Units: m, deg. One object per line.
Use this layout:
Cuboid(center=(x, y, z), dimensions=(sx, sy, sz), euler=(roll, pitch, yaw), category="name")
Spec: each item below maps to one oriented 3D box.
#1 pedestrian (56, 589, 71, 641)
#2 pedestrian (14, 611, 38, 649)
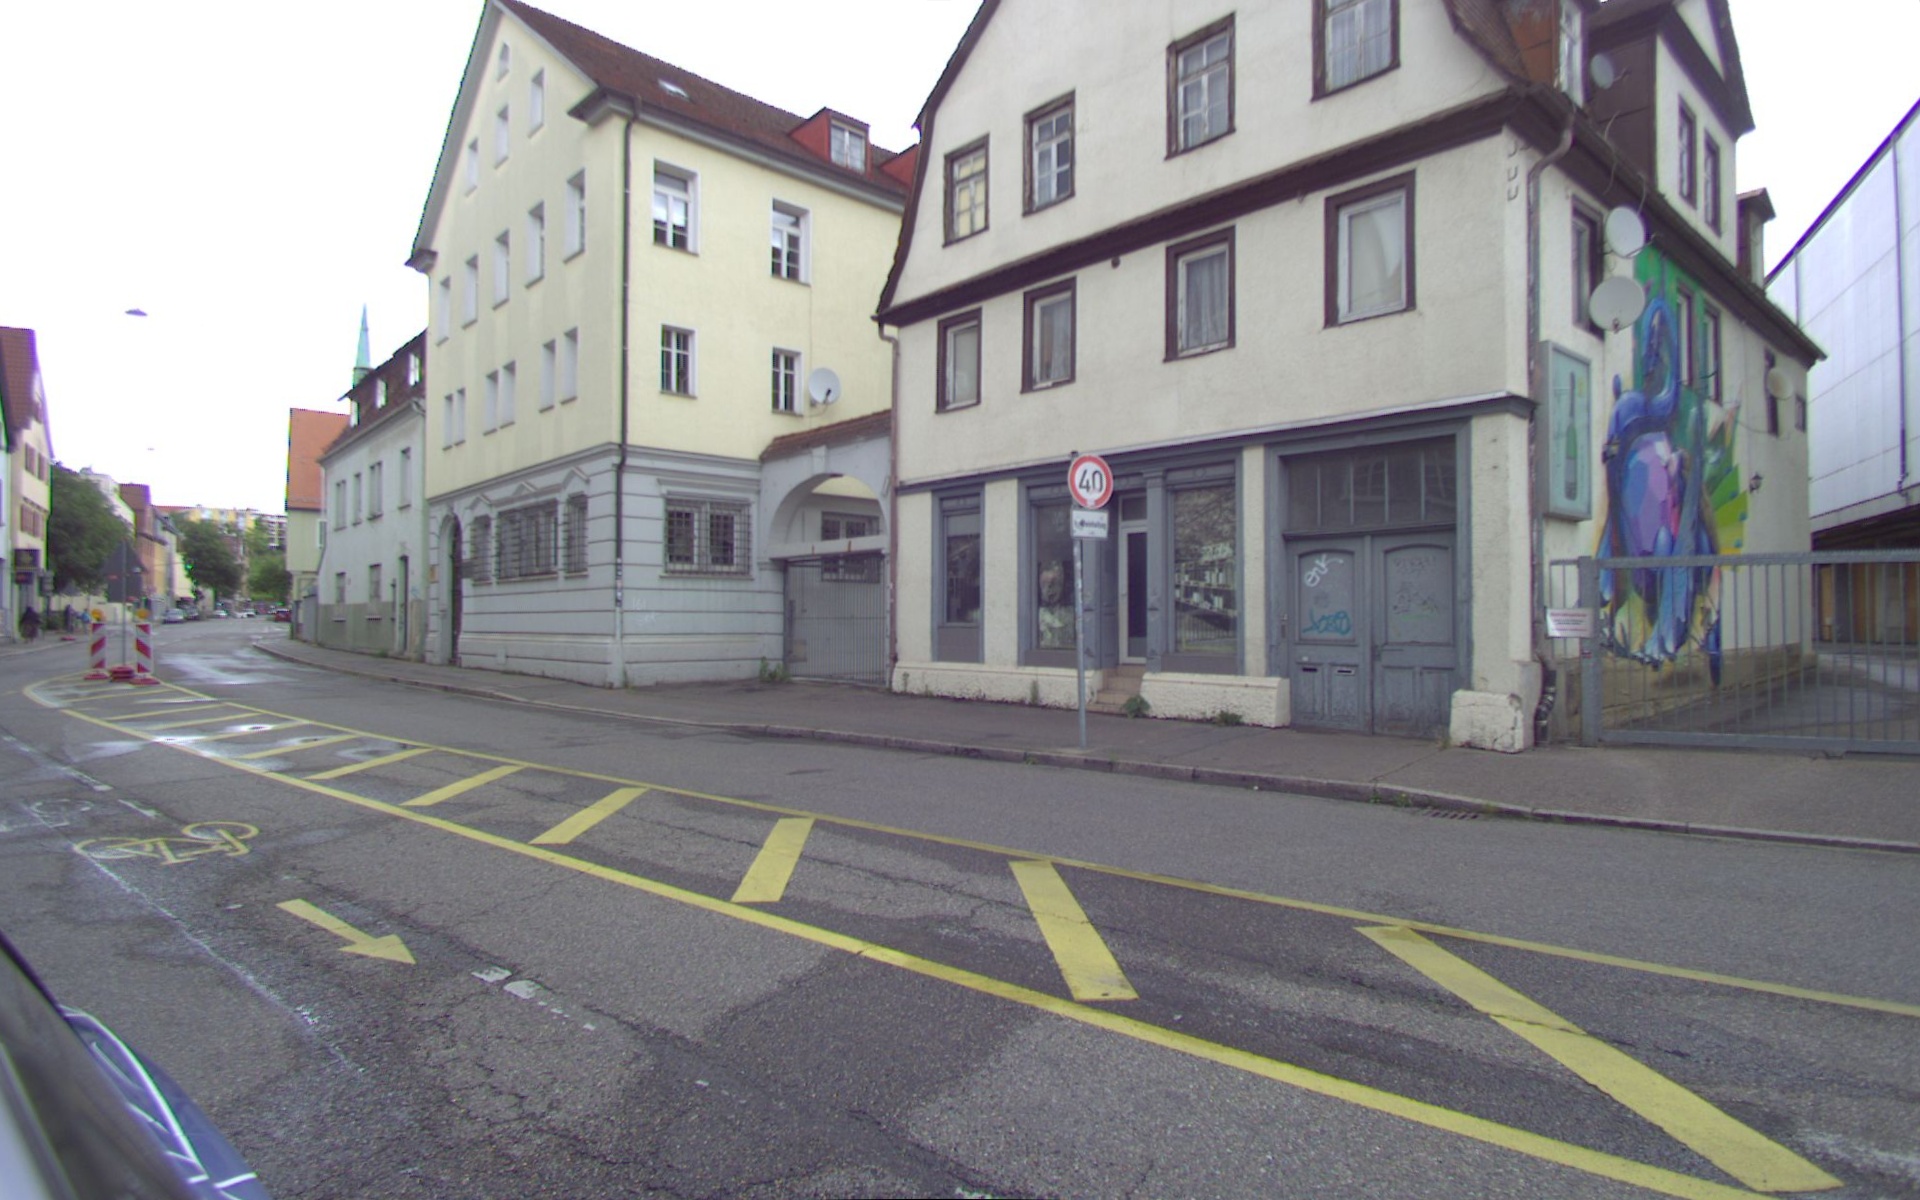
Cuboid(center=(-43.751, 0.741, 49.391), dimensions=(0.487, 2.547, 0.747), euler=(1, -2, -38), category="pedestrian")
Cuboid(center=(-40.653, 1.287, 44.041), dimensions=(0.714, 1.626, 0.649), euler=(1, -2, -39), category="pedestrian")
